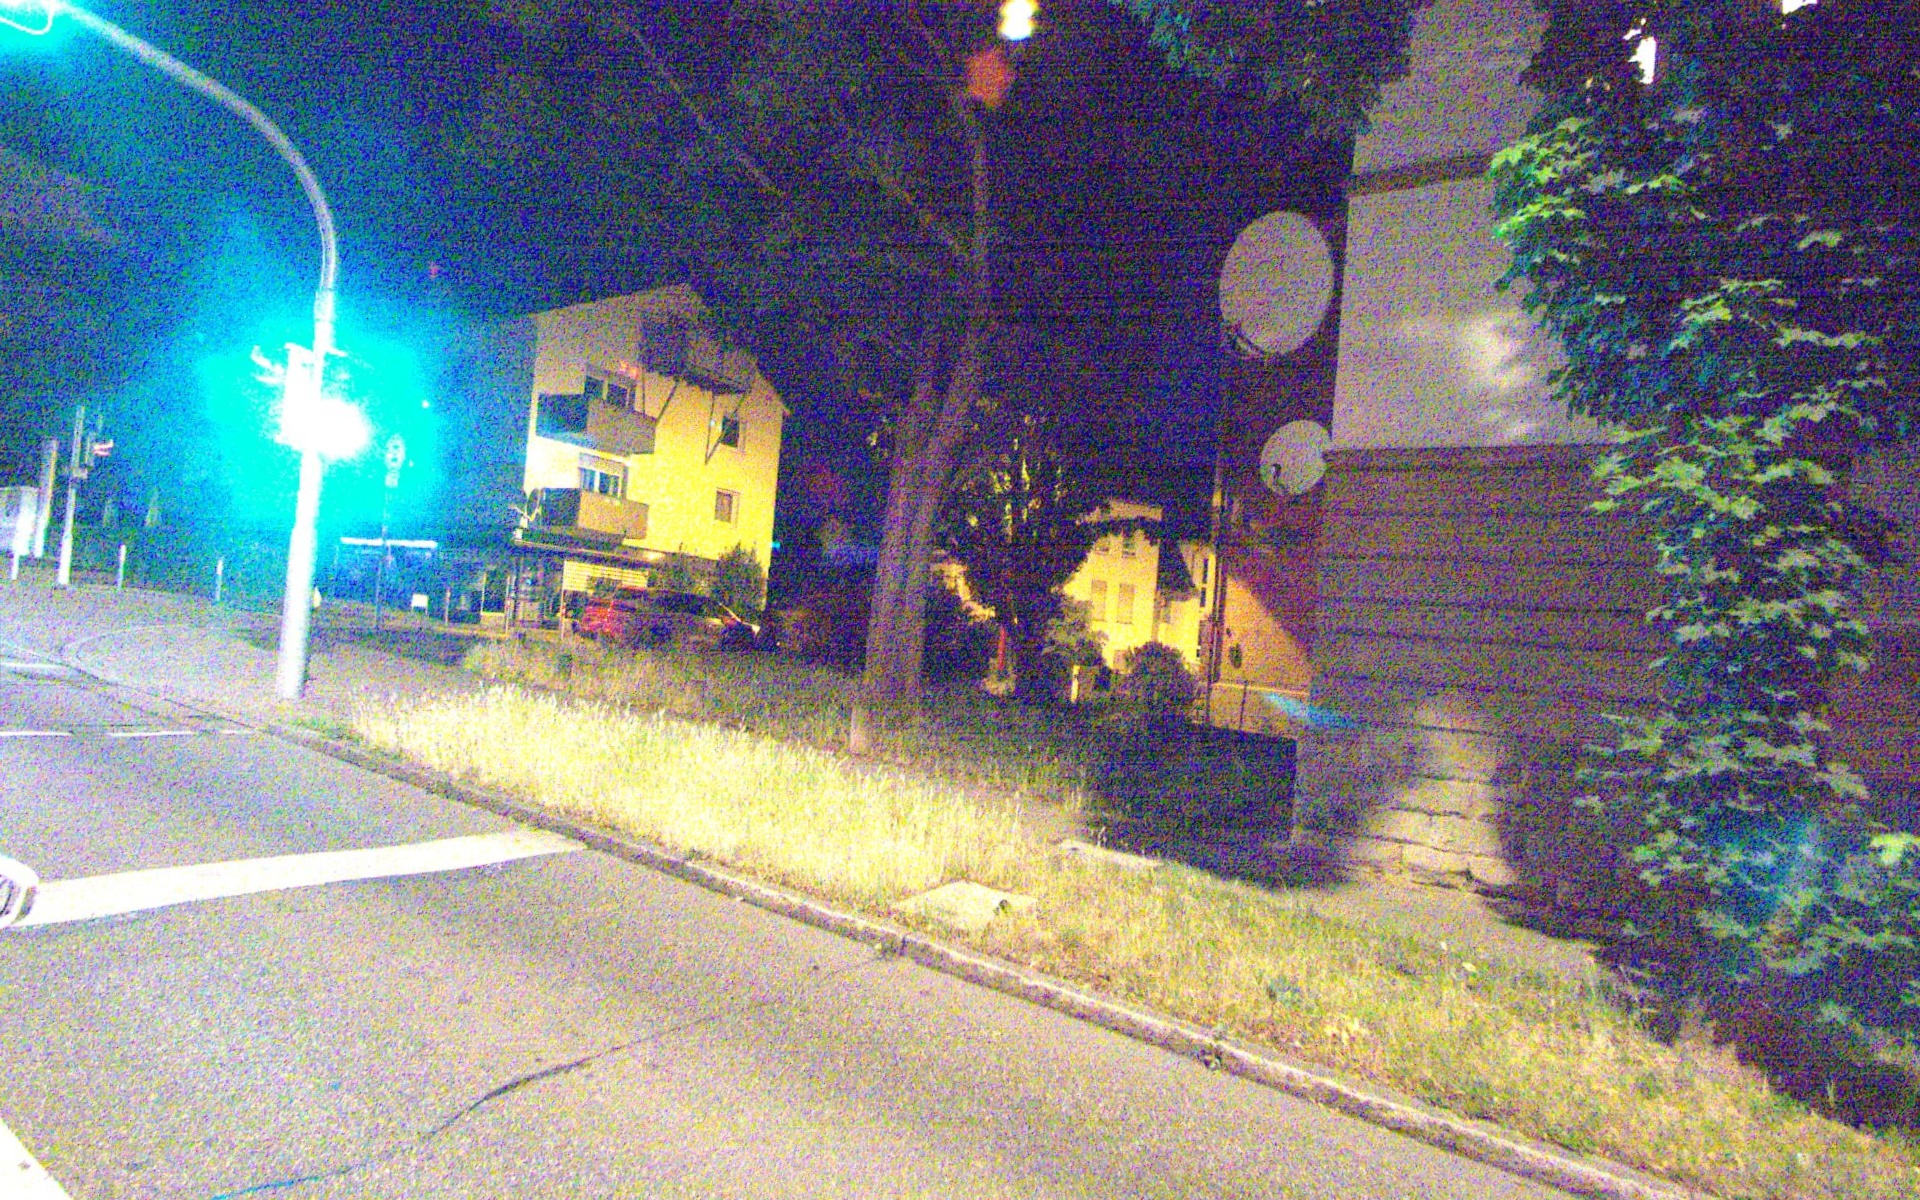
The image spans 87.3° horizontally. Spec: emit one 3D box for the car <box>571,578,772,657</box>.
[{"bbox_3d":[-6.543,0.445,23.172,1.740,1.295,4.131,6,-3,39],"label":"car"}]
